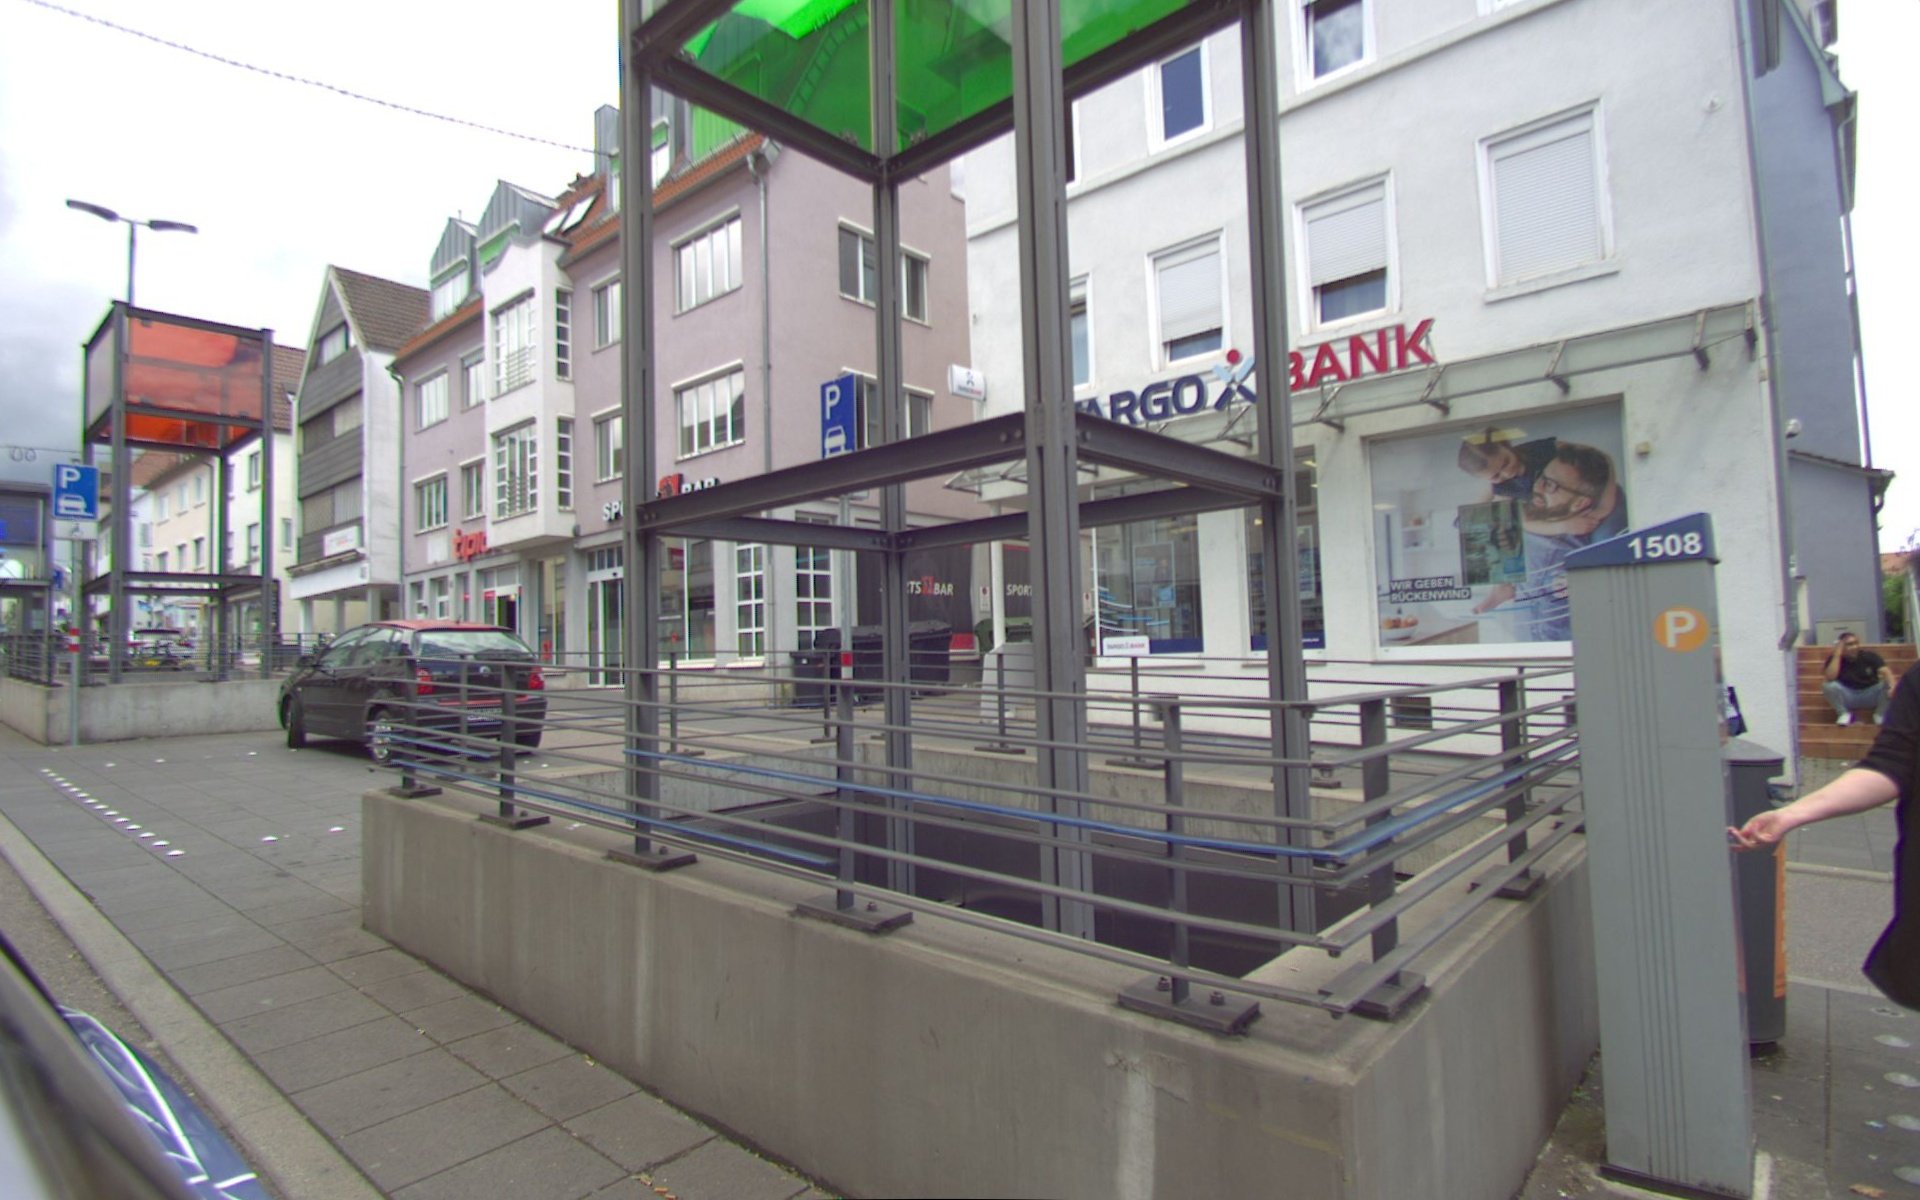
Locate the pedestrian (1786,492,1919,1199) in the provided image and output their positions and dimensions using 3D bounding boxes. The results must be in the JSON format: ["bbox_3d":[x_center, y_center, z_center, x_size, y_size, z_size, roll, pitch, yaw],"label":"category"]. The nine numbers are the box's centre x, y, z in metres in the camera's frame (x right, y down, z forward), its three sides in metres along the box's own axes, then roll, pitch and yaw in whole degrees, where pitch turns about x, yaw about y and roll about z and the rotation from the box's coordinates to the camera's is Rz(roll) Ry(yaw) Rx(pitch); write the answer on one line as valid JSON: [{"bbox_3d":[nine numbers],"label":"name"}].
[{"bbox_3d":[2.413,0.606,2.179,0.901,1.685,0.527,-2,-2,44],"label":"pedestrian"}]

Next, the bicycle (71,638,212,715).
[{"bbox_3d":[-13.675,1.249,16.965,0.459,1.232,1.760,-1,-2,40],"label":"bicycle"}]

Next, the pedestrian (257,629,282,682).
[{"bbox_3d":[-23.315,1.870,34.180,0.513,1.729,0.584,-1,0,41],"label":"pedestrian"}]

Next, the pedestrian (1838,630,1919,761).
[{"bbox_3d":[9.847,0.999,10.855,0.606,1.329,0.619,-1,0,40],"label":"pedestrian"}]

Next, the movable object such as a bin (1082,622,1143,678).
[{"bbox_3d":[3.893,1.258,25.823,1.043,1.387,1.270,-2,-2,40],"label":"movable object such as a bin"}]

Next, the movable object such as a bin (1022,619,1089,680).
[{"bbox_3d":[2.257,1.148,23.833,1.043,1.387,1.270,-2,-2,40],"label":"movable object such as a bin"}]

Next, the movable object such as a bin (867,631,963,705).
[{"bbox_3d":[-0.891,1.319,20.073,1.406,1.387,1.270,-2,-2,41],"label":"movable object such as a bin"}]

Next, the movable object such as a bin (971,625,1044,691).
[{"bbox_3d":[1.058,1.260,22.319,1.043,1.387,1.270,-2,-2,40],"label":"movable object such as a bin"}]

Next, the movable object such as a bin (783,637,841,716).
[{"bbox_3d":[-2.692,1.373,18.416,0.807,1.387,0.682,-2,-2,41],"label":"movable object such as a bin"}]

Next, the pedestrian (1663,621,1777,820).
[{"bbox_3d":[6.449,0.986,8.588,0.716,1.585,0.559,-2,-4,41],"label":"pedestrian"}]

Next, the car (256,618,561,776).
[{"bbox_3d":[-6.250,0.968,11.325,3.850,1.486,1.554,-1,-3,38],"label":"car"}]

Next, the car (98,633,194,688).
[{"bbox_3d":[-26.040,1.875,32.324,4.120,1.583,1.662,-1,0,41],"label":"car"}]

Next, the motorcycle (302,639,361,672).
[{"bbox_3d":[-24.257,2.133,39.070,0.633,1.149,1.830,-1,0,40],"label":"motorcycle"}]

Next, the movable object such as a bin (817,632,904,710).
[{"bbox_3d":[-1.891,1.313,19.210,1.067,1.387,1.270,-2,-2,41],"label":"movable object such as a bin"}]

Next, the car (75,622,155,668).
[{"bbox_3d":[-31.738,1.657,37.980,4.120,1.583,1.662,-1,0,41],"label":"car"}]
